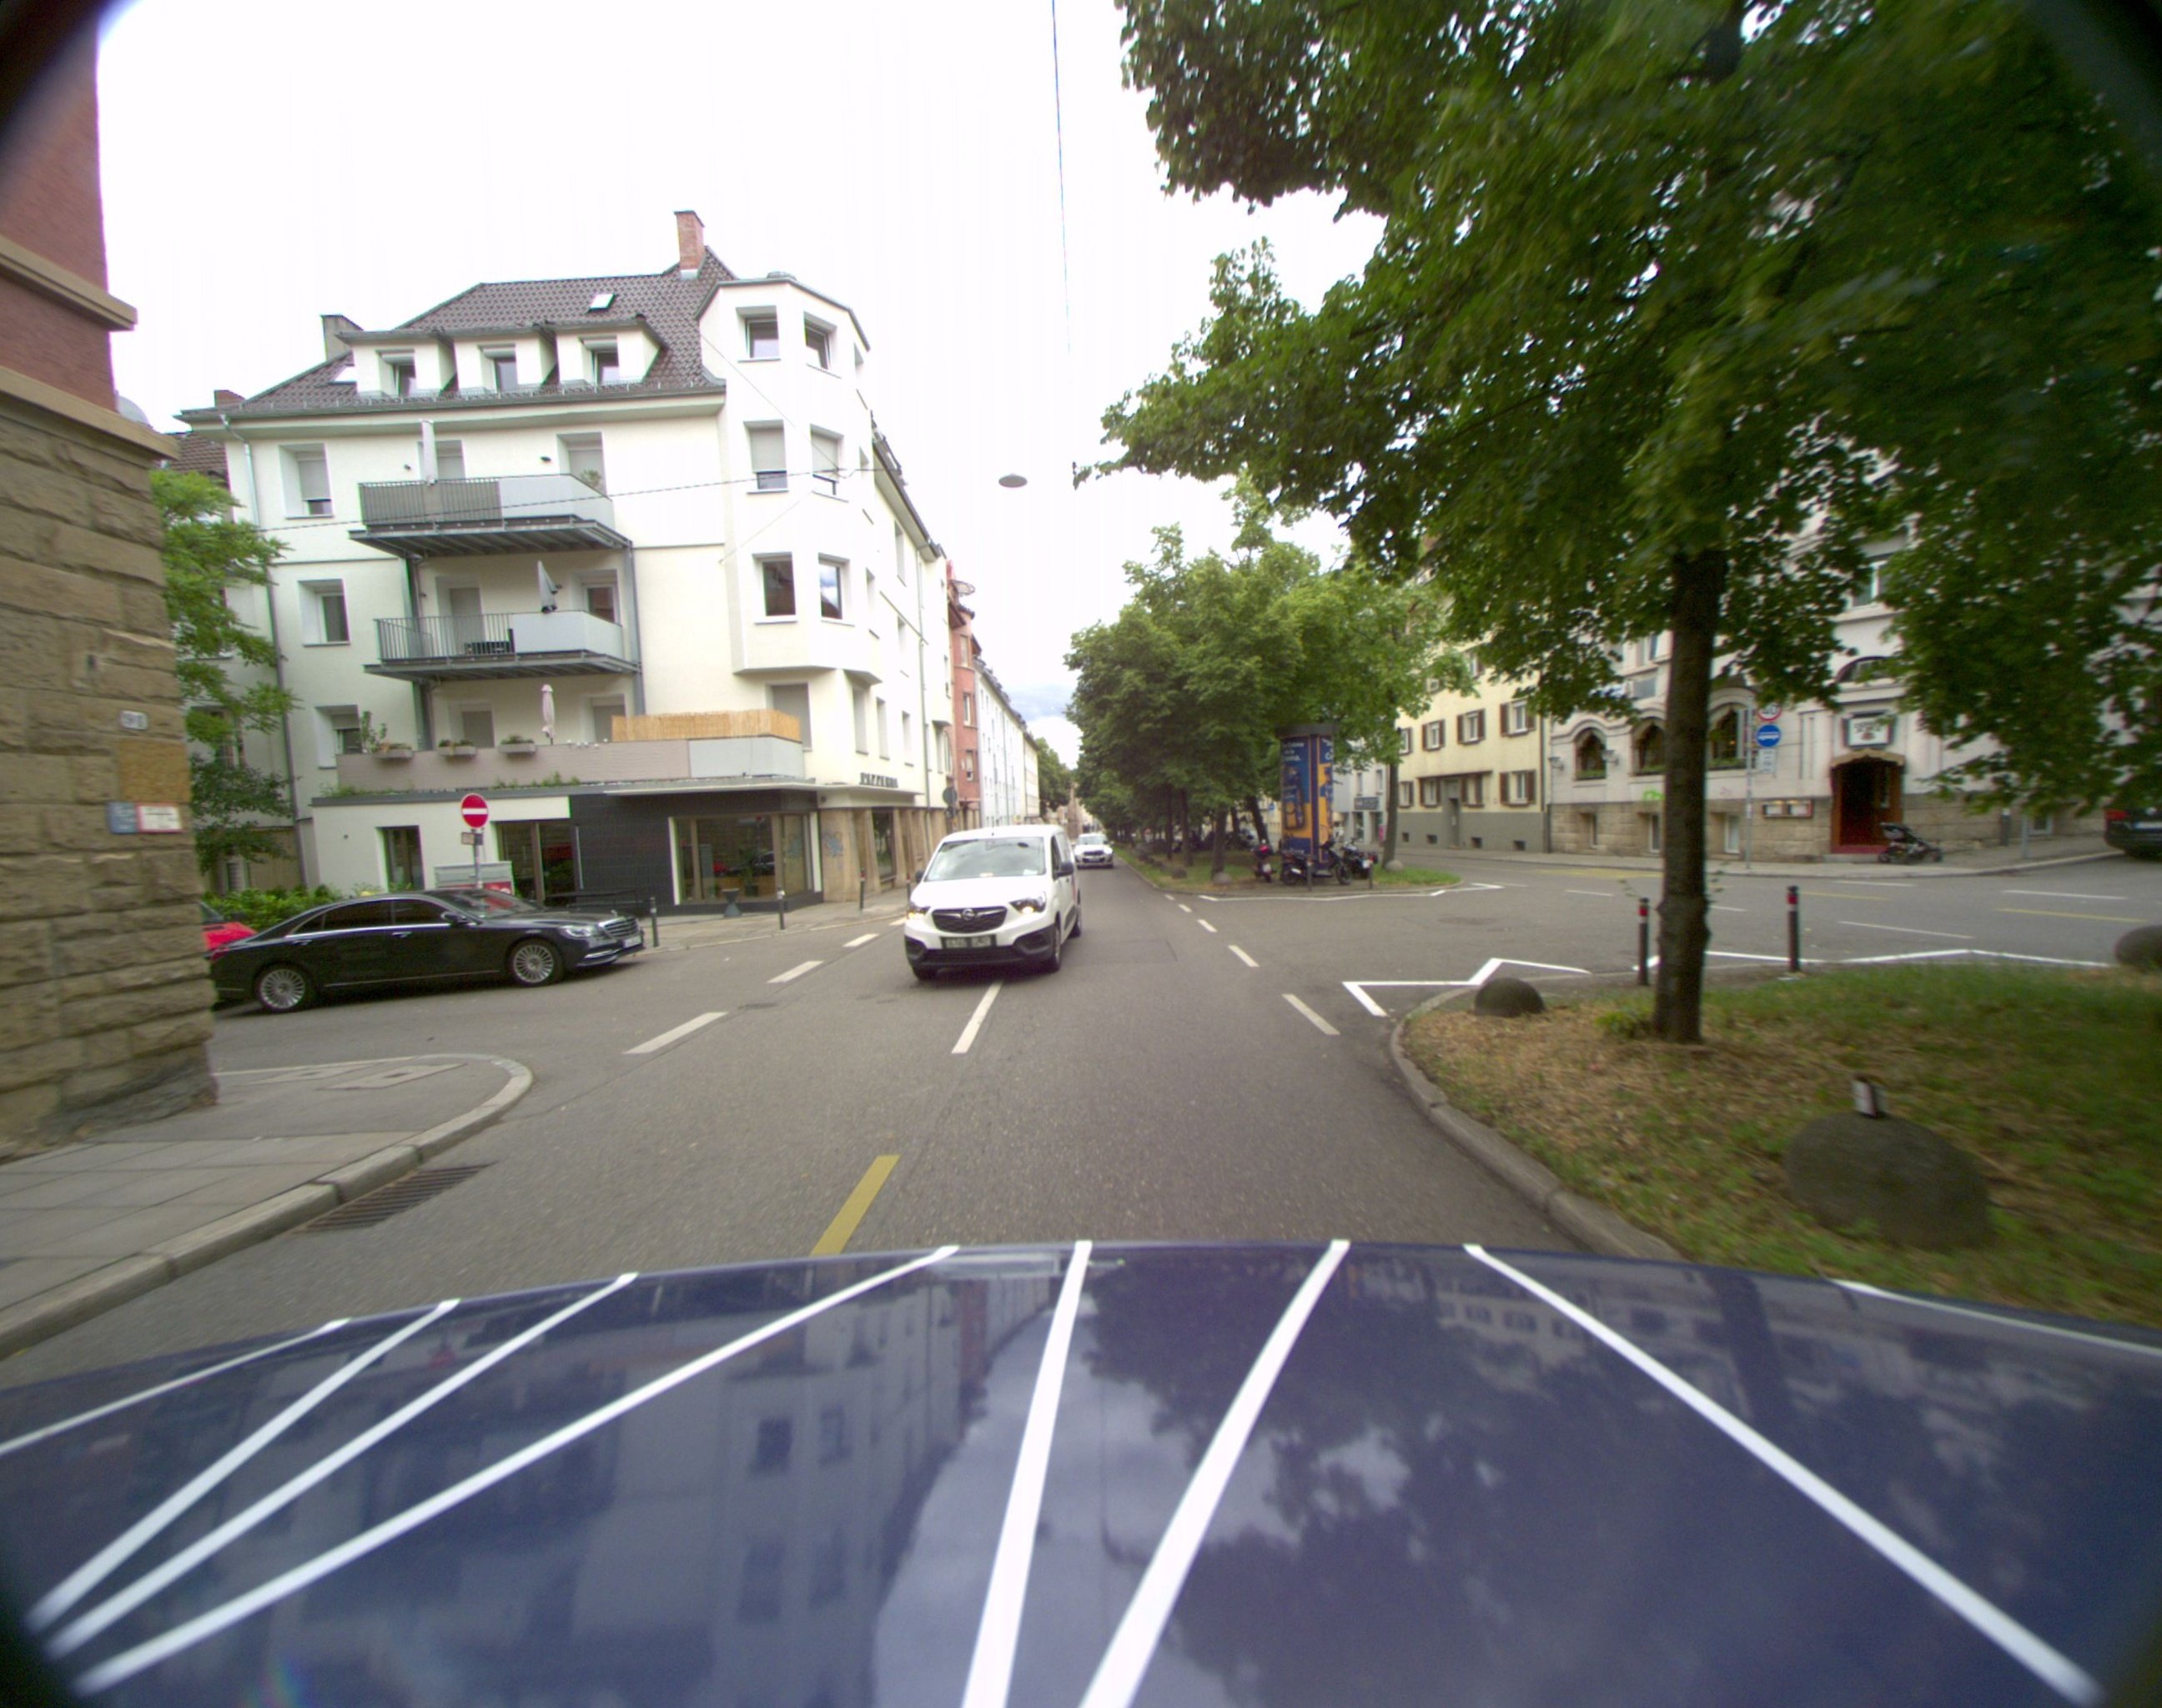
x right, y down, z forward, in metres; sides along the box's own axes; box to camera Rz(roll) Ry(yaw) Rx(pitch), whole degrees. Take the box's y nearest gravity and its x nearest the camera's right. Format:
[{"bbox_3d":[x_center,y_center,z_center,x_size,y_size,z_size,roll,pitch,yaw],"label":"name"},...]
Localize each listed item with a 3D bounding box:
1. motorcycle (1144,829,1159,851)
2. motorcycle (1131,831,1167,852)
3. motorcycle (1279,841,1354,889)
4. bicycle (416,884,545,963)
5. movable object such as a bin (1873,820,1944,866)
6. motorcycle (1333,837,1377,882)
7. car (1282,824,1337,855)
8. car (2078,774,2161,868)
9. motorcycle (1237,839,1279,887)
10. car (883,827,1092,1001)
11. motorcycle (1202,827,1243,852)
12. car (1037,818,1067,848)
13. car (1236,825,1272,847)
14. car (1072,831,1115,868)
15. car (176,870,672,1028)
[{"bbox_3d":[4.441,-0.885,47.707,0.454,1.299,1.627,-4,4,-10],"label":"motorcycle"},{"bbox_3d":[4.048,-0.773,45.242,2.041,1.126,0.454,-3,4,1],"label":"motorcycle"},{"bbox_3d":[5.985,0.272,19.351,1.735,1.090,0.550,-3,4,5],"label":"motorcycle"},{"bbox_3d":[-10.135,1.153,12.878,1.501,1.147,0.633,-3,5,-8],"label":"bicycle"},{"bbox_3d":[19.262,-0.257,17.702,0.888,0.988,0.668,-5,2,-1],"label":"movable object such as a bin"},{"bbox_3d":[7.511,0.133,20.892,0.750,1.068,1.851,-2,4,8],"label":"motorcycle"},{"bbox_3d":[12.588,-0.805,42.072,1.818,1.554,4.416,-2,1,2],"label":"car"},{"bbox_3d":[22.716,-0.815,14.786,4.007,1.690,1.871,-7,2,2],"label":"car"},{"bbox_3d":[4.876,0.219,21.061,0.888,1.090,2.481,-2,4,8],"label":"motorcycle"},{"bbox_3d":[-0.999,0.580,10.846,1.853,1.815,5.020,-3,2,5],"label":"car"},{"bbox_3d":[9.012,-0.947,48.393,2.424,1.475,0.963,-1,4,1],"label":"motorcycle"},{"bbox_3d":[-3.158,-2.415,85.142,3.026,3.045,7.165,-2,3,0],"label":"car"},{"bbox_3d":[12.847,-1.352,56.674,1.818,1.554,4.254,-2,1,2],"label":"car"},{"bbox_3d":[0.599,-0.244,35.770,1.854,1.595,4.562,-2,1,1],"label":"car"},{"bbox_3d":[-9.341,1.283,11.312,5.141,1.541,2.237,-5,2,-4],"label":"car"}]
